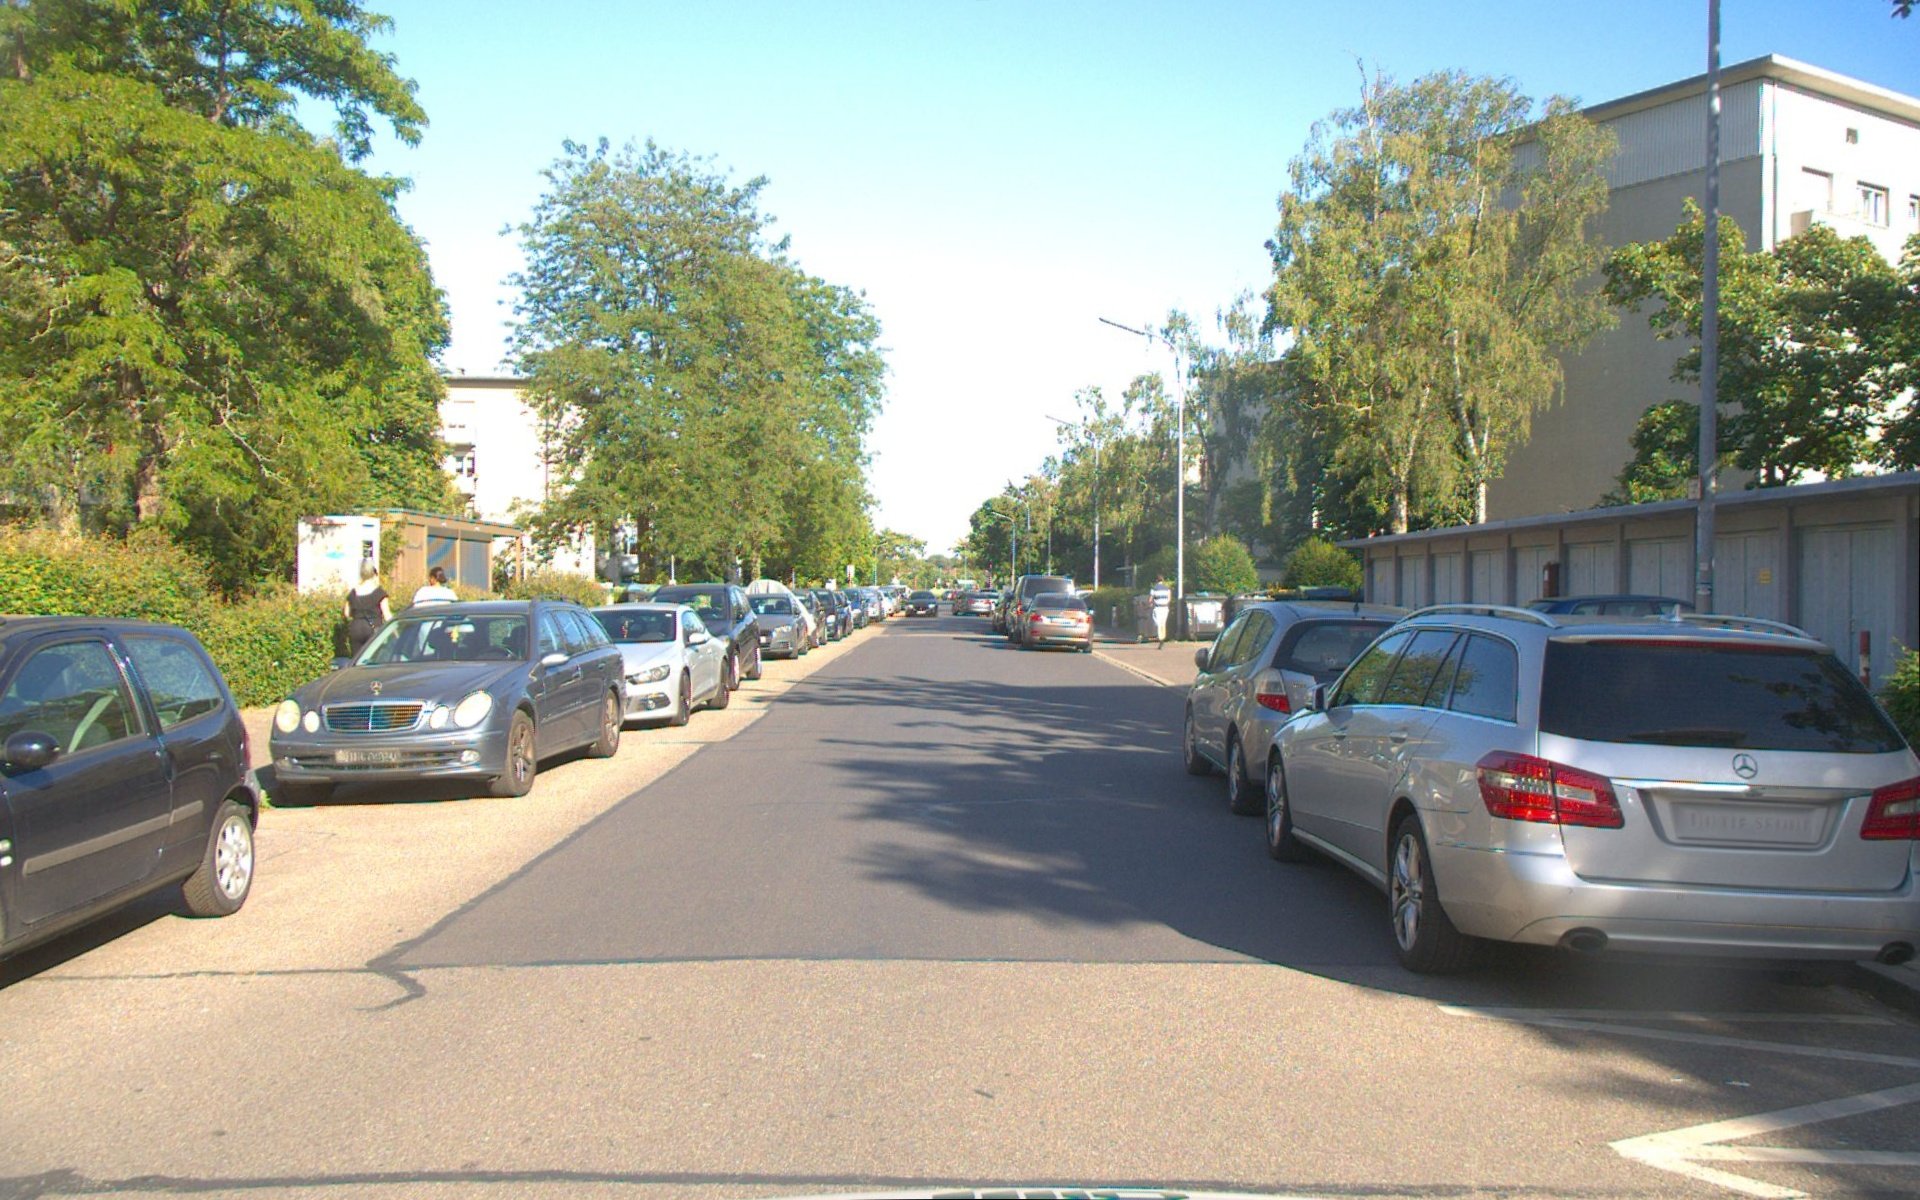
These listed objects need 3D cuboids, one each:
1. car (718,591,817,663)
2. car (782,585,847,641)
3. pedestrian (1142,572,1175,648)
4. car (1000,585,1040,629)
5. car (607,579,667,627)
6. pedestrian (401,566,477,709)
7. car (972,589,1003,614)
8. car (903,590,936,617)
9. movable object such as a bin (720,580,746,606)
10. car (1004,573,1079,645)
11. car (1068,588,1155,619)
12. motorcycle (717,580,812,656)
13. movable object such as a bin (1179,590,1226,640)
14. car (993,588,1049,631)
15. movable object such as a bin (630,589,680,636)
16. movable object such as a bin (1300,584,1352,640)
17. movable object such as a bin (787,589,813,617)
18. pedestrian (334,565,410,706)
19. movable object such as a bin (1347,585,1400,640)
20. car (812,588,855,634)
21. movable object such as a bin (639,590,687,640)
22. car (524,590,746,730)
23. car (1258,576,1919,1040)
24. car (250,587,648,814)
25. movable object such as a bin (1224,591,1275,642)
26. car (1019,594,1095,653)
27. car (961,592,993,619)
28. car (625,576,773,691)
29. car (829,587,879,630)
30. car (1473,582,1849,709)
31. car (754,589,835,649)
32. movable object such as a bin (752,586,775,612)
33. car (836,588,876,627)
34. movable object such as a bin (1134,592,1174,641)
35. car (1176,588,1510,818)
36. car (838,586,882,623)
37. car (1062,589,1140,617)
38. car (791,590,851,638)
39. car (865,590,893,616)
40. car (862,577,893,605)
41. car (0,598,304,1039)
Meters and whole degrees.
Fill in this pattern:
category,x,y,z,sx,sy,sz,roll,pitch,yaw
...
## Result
category,x,y,z,sx,sy,sz,roll,pitch,yaw
car,-4.219,0.551,36.780,1.718,1.445,4.268,-2,0,-1
car,-4.407,0.371,50.498,1.719,1.601,3.718,-2,0,-2
pedestrian,5.106,0.263,42.655,0.689,1.921,0.872,-2,0,0
car,2.493,0.265,69.069,1.458,1.748,2.582,2,0,-1
car,-11.758,0.095,60.397,1.539,1.669,3.998,1,0,-3
pedestrian,-6.330,0.450,20.112,0.706,1.708,0.616,1,0,-1
car,1.771,0.107,107.254,1.718,1.540,4.102,2,0,-3
car,-2.320,0.191,96.281,1.872,1.502,4.570,0,0,-1
movable object such as a bin,-12.891,-0.407,93.932,1.153,1.445,1.462,3,0,1
car,2.382,0.247,49.269,1.815,1.968,4.703,2,0,-1
car,7.876,0.165,86.275,4.420,1.540,1.829,-1,0,0
motorcycle,-4.775,0.424,40.582,2.211,1.757,0.932,-2,0,-4
movable object such as a bin,6.819,0.427,46.621,1.198,1.389,1.133,0,0,3
car,2.242,0.318,61.640,1.697,1.516,4.498,-1,0,-3
movable object such as a bin,-8.731,0.350,47.377,1.153,1.310,1.343,1,0,0
movable object such as a bin,10.405,0.329,47.077,1.249,1.491,1.134,0,4,3
movable object such as a bin,-8.361,0.139,86.369,1.113,1.406,1.442,3,0,1
pedestrian,-7.239,0.431,20.382,0.706,1.708,0.600,1,0,-1
movable object such as a bin,11.743,0.348,46.993,1.249,1.491,1.134,0,4,3
car,-4.706,0.387,61.688,1.415,1.601,3.141,-2,0,-2
movable object such as a bin,-8.758,0.439,48.799,1.153,1.432,1.343,1,0,0
car,-3.771,0.651,19.894,1.718,1.450,4.211,-2,0,1
car,2.747,0.701,8.005,1.793,1.573,4.641,1,0,0
car,-4.043,0.714,14.031,1.718,1.516,4.901,-2,0,1
movable object such as a bin,8.087,0.458,46.249,1.249,1.389,1.133,0,0,3
car,2.507,0.574,43.602,1.764,1.443,4.636,1,0,1
car,1.019,0.323,100.443,1.646,1.540,4.102,2,0,-3
car,-4.118,0.484,26.721,1.718,1.664,4.370,-2,0,-1
car,-4.295,0.332,67.447,1.718,1.634,3.968,-2,0,0
car,8.975,0.562,21.384,4.099,1.521,1.817,1,0,-4
car,-4.455,0.474,45.033,1.718,1.506,3.959,-2,0,1
movable object such as a bin,-11.584,-0.050,97.784,1.111,1.445,1.361,3,0,1
car,-4.547,0.300,72.371,1.602,1.634,3.534,-1,0,-2
movable object such as a bin,5.585,0.471,47.574,1.004,1.333,1.388,-3,0,9
car,2.829,0.682,13.056,1.767,1.521,3.795,1,0,0
car,-4.678,0.178,78.072,1.864,1.668,4.348,-1,0,-1
car,8.030,0.170,94.485,4.325,1.540,1.829,-1,0,-1
car,-4.635,0.438,55.615,1.719,1.506,4.536,-2,0,-2
car,-4.922,0.192,100.395,1.652,1.532,3.816,0,0,-2
car,-4.721,-0.509,95.391,1.652,1.562,3.890,-1,0,-1
car,-4.134,0.764,6.695,1.615,1.489,3.495,-1,0,-2
